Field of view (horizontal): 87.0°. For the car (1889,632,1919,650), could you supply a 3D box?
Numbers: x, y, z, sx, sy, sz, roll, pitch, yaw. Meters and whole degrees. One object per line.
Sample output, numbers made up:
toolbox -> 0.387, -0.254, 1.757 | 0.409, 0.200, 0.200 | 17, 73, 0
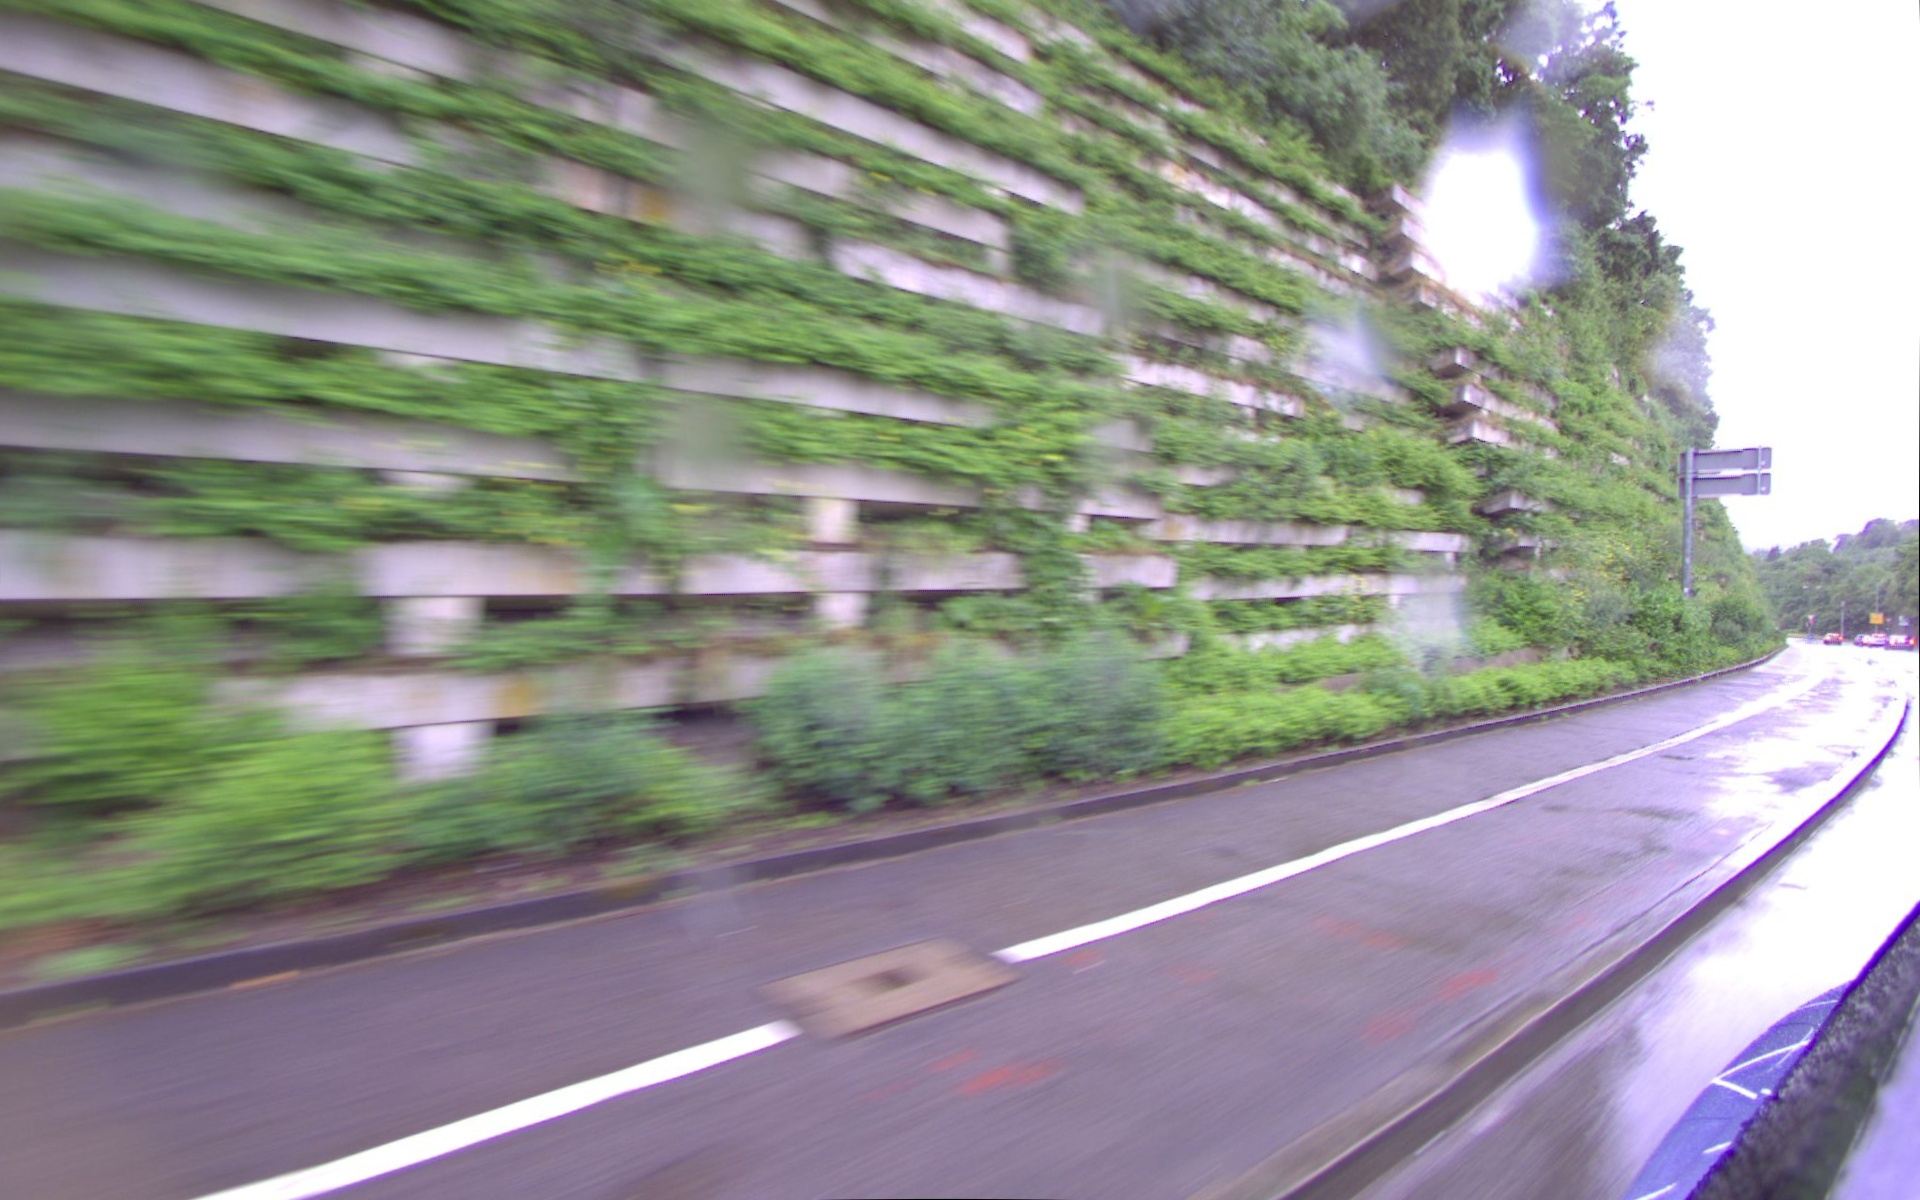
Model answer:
car -> 84.161, 3.600, 89.913 | 1.787, 1.427, 3.953 | 0, 0, 33

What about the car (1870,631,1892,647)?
car -> 131.814, 5.578, 144.855 | 3.931, 2.039, 1.996 | 1, 0, -42

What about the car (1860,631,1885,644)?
car -> 117.664, 4.800, 130.537 | 1.988, 1.545, 3.948 | 1, 0, 36

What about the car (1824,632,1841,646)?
car -> 122.538, 5.457, 142.105 | 1.793, 1.866, 3.940 | 0, 0, 41

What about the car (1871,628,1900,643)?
car -> 107.003, 4.070, 117.012 | 1.988, 1.545, 3.948 | 1, 0, 36
